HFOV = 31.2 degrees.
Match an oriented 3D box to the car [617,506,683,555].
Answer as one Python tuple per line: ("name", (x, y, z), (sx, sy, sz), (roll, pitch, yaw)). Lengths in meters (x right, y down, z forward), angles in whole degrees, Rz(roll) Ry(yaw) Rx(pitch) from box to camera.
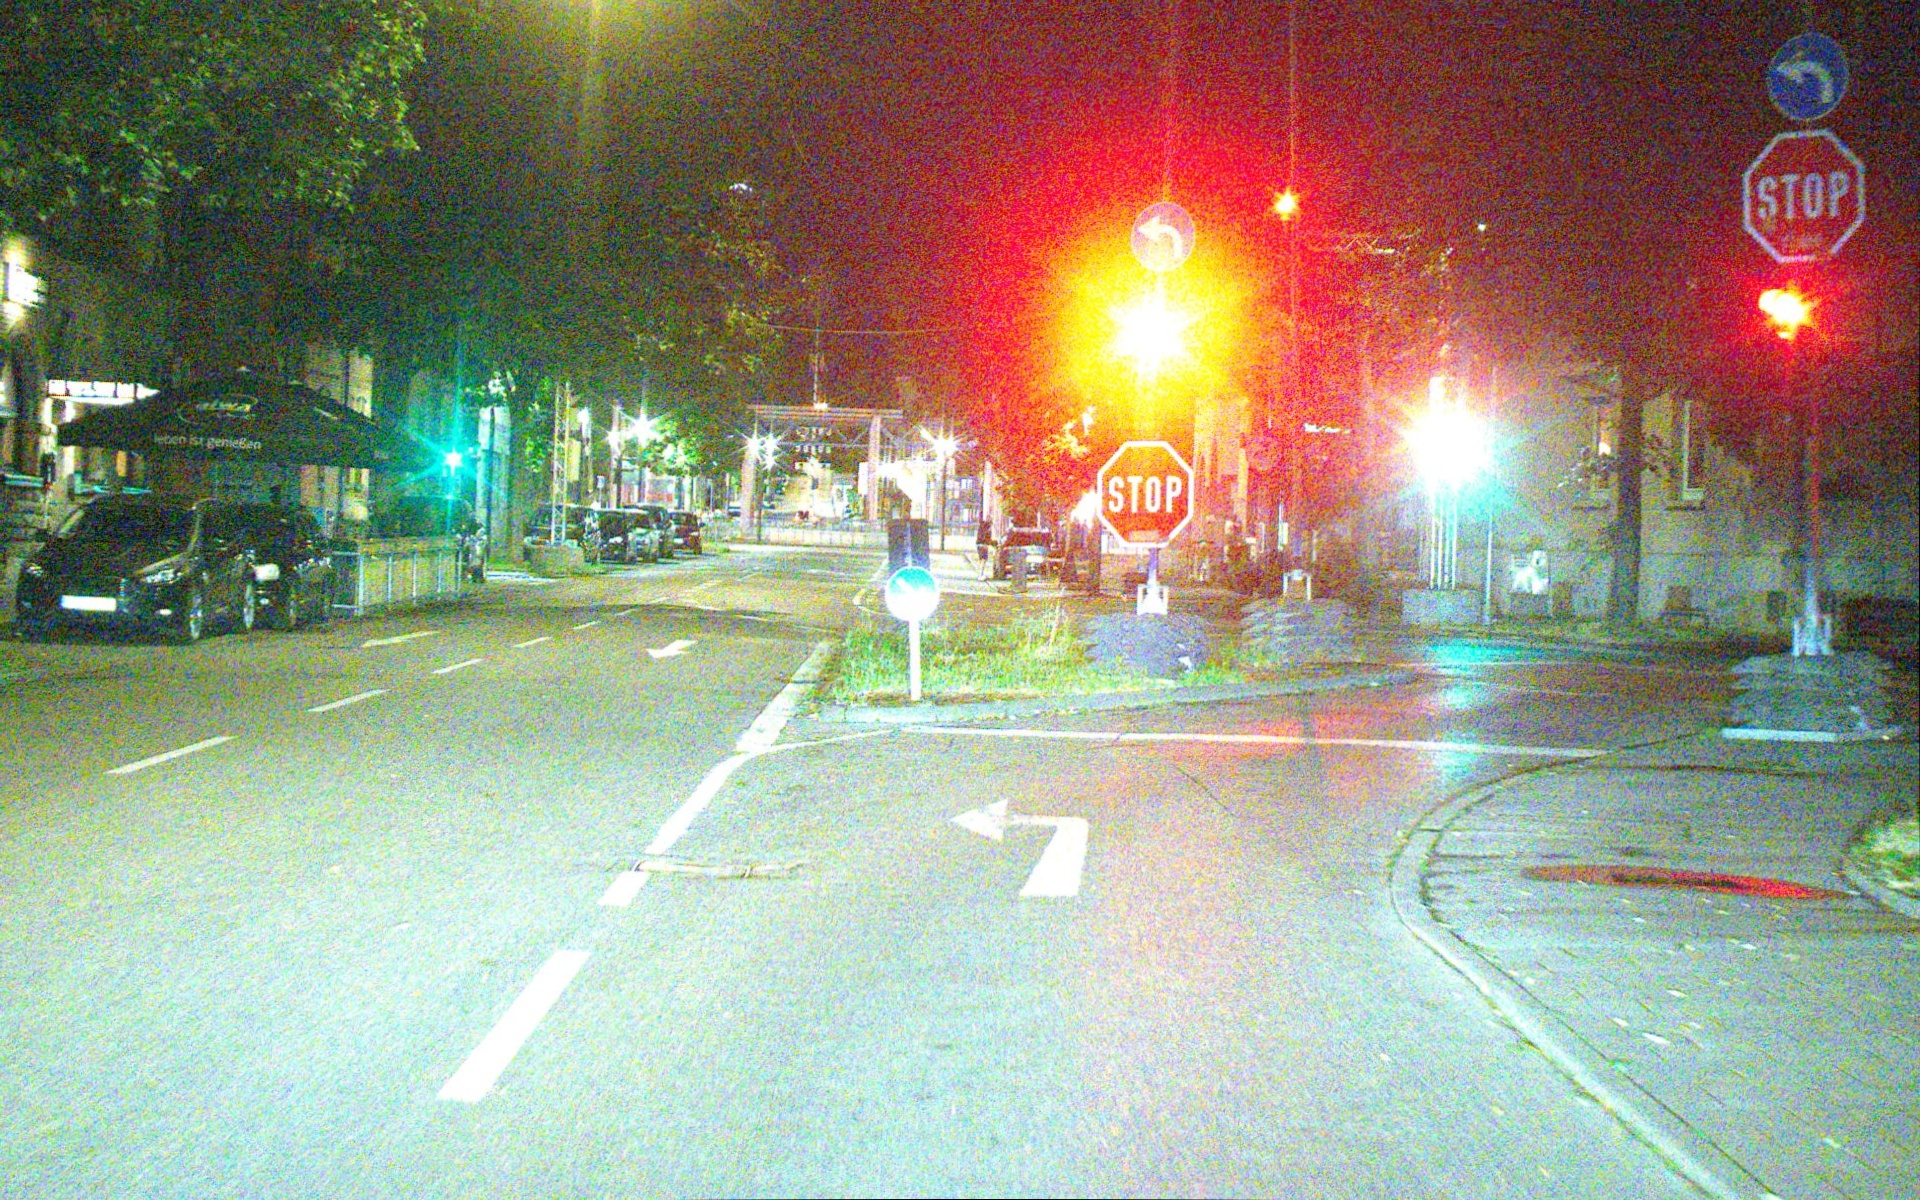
("car", (-9.417, -2.120, 104.642), (1.651, 1.426, 4.000), (1, 1, -1))

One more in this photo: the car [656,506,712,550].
("car", (-9.485, -2.481, 118.375), (1.651, 1.426, 4.000), (1, 1, -1))

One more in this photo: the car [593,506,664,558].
("car", (-9.417, -1.942, 97.757), (1.651, 1.426, 4.000), (1, 1, -1))

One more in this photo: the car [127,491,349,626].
("car", (-8.556, -0.509, 41.069), (1.803, 1.476, 4.323), (2, 1, -1))

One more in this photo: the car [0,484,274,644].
("car", (-8.620, -0.421, 36.074), (1.899, 1.466, 4.452), (4, 2, 0))

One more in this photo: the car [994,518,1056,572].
("car", (1.772, -1.515, 94.360), (1.651, 1.426, 4.000), (1, 1, 1))

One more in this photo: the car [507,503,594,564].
("car", (-9.953, -1.623, 83.712), (1.651, 1.426, 4.000), (1, 1, -1))

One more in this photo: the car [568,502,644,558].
("car", (-9.427, -1.861, 91.746), (1.651, 1.426, 4.000), (1, 1, -1))
